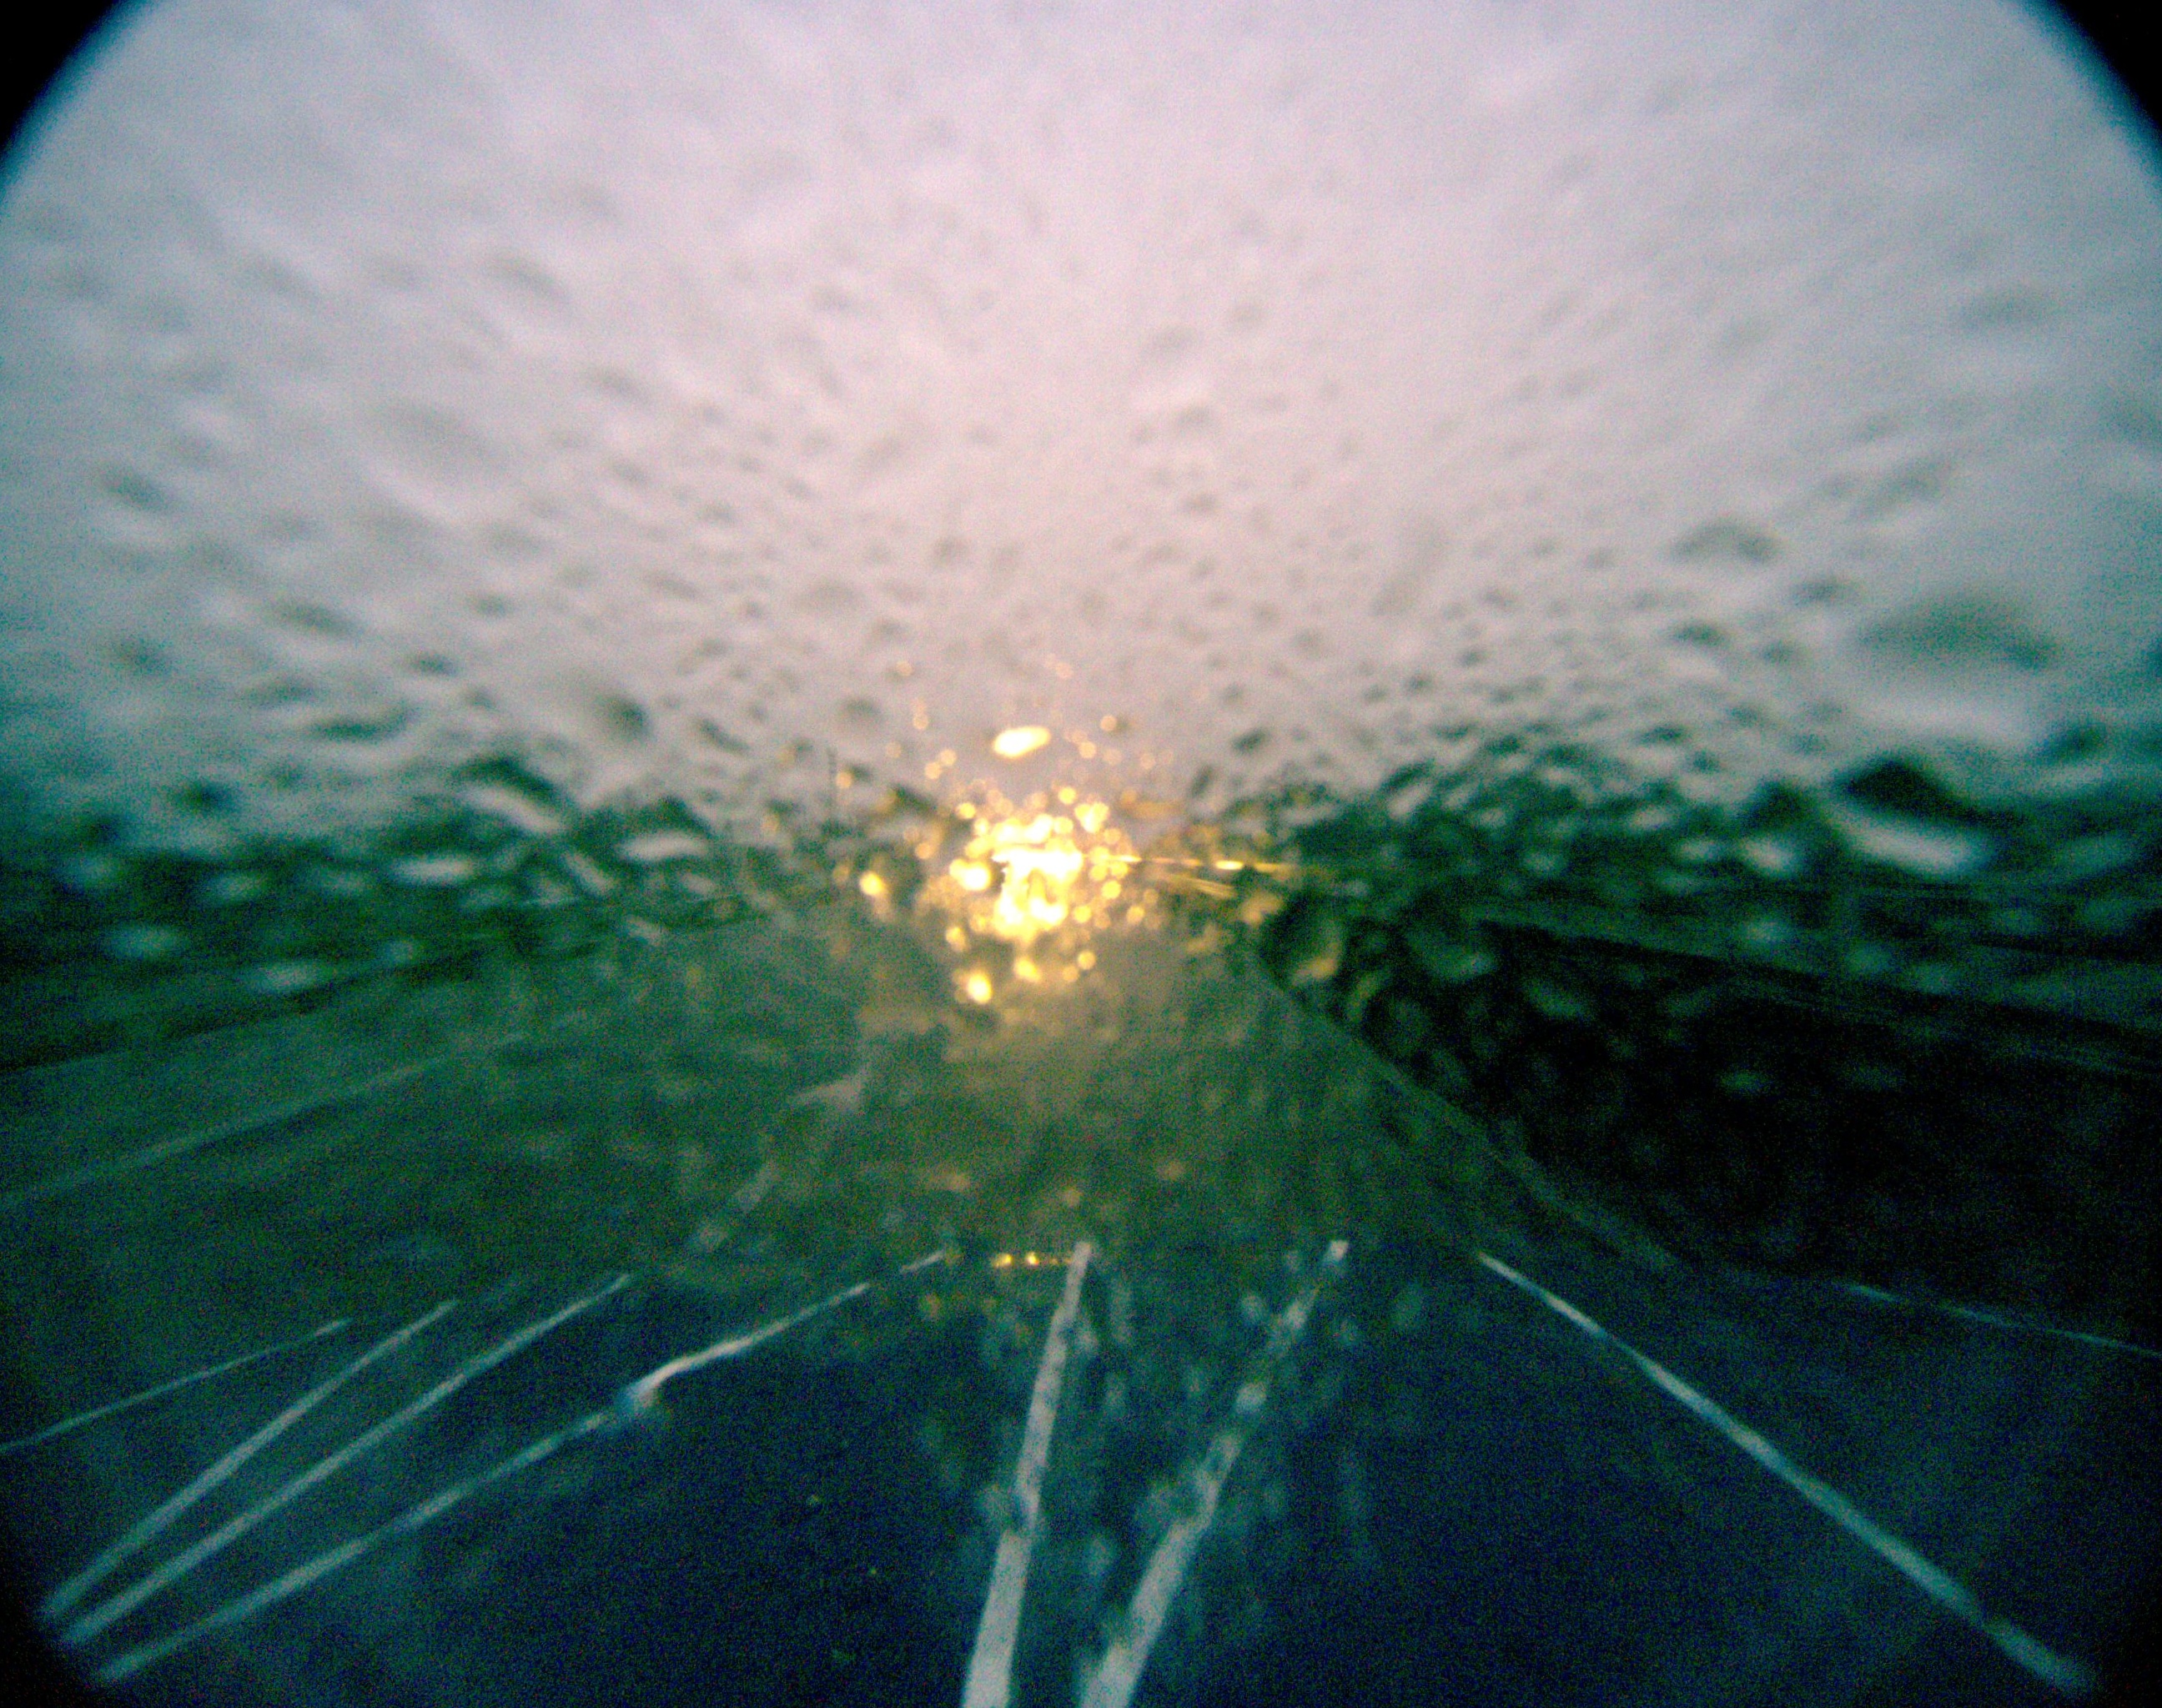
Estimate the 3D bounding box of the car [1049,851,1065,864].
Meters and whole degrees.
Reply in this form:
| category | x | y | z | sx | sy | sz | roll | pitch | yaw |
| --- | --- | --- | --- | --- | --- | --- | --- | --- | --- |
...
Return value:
| category | x | y | z | sx | sy | sz | roll | pitch | yaw |
| --- | --- | --- | --- | --- | --- | --- | --- | --- | --- |
| car | -2.874 | 0.462 | 90.071 | 1.632 | 1.465 | 3.998 | -1 | 0 | -4 |

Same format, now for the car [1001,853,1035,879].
| category | x | y | z | sx | sy | sz | roll | pitch | yaw |
| --- | --- | --- | --- | --- | --- | --- | --- | --- | --- |
| car | -3.966 | 0.772 | 48.487 | 1.802 | 1.494 | 4.000 | -3 | 0 | 0 |

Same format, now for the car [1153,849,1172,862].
| category | x | y | z | sx | sy | sz | roll | pitch | yaw |
| --- | --- | --- | --- | --- | --- | --- | --- | --- | --- |
| car | 9.204 | 0.133 | 85.630 | 1.537 | 1.357 | 3.999 | -3 | 1 | -1 |
